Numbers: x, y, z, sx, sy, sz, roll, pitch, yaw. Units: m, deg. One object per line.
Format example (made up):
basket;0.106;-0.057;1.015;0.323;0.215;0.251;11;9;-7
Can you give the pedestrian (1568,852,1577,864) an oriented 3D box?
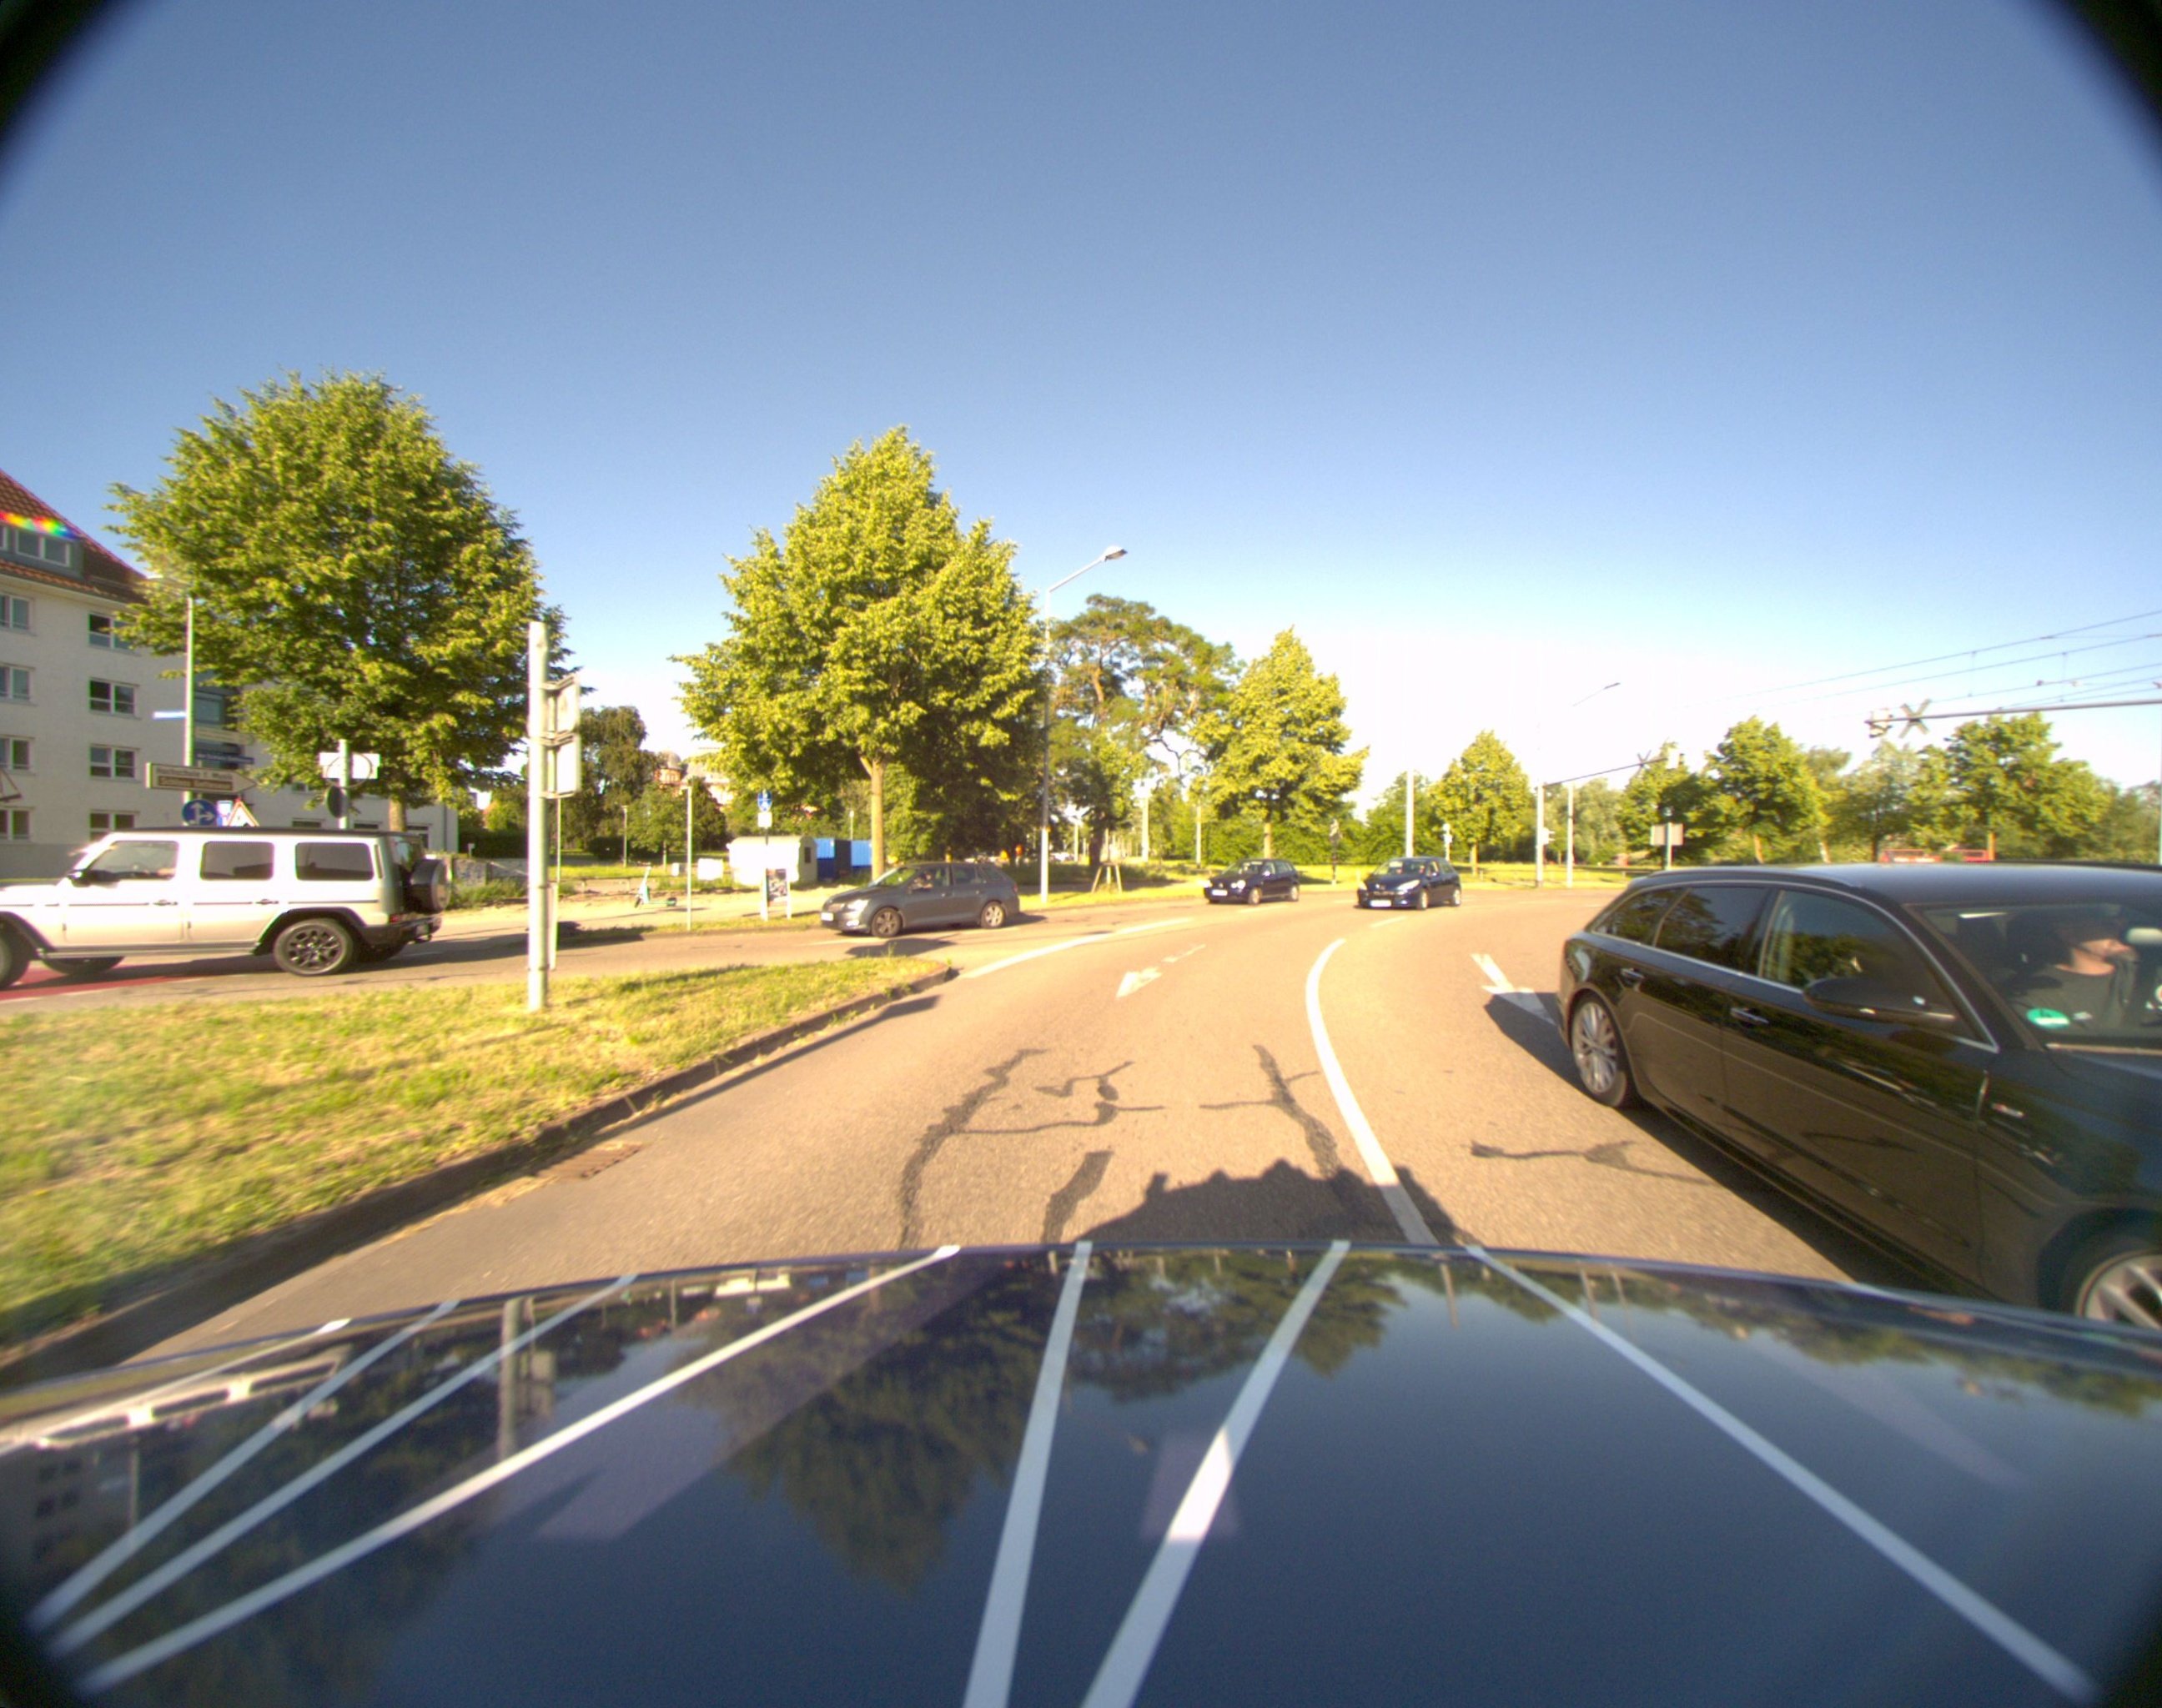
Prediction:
pedestrian;61.537;0.517;95.169;0.796;1.432;0.660;0;0;-39

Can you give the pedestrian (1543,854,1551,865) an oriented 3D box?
pedestrian;59.829;0.666;97.587;0.796;1.432;0.685;0;0;-39

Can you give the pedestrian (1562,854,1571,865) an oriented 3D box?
pedestrian;61.220;0.702;95.839;0.796;1.432;0.772;0;0;-39

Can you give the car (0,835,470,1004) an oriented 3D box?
car;-11.286;0.728;9.962;4.759;1.886;1.999;0;0;-26

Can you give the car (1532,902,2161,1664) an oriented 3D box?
car;3.549;1.041;2.819;1.795;1.434;5.022;-1;0;13

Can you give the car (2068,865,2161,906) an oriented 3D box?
car;38.477;1.071;26.666;4.529;1.371;1.939;-2;-1;10

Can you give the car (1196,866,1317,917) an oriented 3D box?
car;5.828;1.155;24.908;4.555;1.459;1.633;0;0;-43

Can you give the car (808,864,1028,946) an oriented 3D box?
car;-3.252;0.945;15.711;4.160;1.427;1.715;0;0;-43

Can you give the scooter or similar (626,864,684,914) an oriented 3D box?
scooter or similar;-11.299;0.917;20.203;0.443;1.240;1.267;-2;0;28

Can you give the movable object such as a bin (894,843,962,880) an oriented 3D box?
movable object such as a bin;-12.103;0.626;60.326;5.046;2.772;1.999;-1;-1;-5

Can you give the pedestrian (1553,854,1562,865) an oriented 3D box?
pedestrian;60.361;0.704;96.230;0.796;1.432;0.685;0;0;-39

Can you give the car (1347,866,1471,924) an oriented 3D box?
car;9.456;1.104;21.748;4.008;1.445;1.753;0;0;-42

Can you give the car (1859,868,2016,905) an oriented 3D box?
car;34.967;1.318;31.133;4.062;1.371;1.726;-2;-1;10
